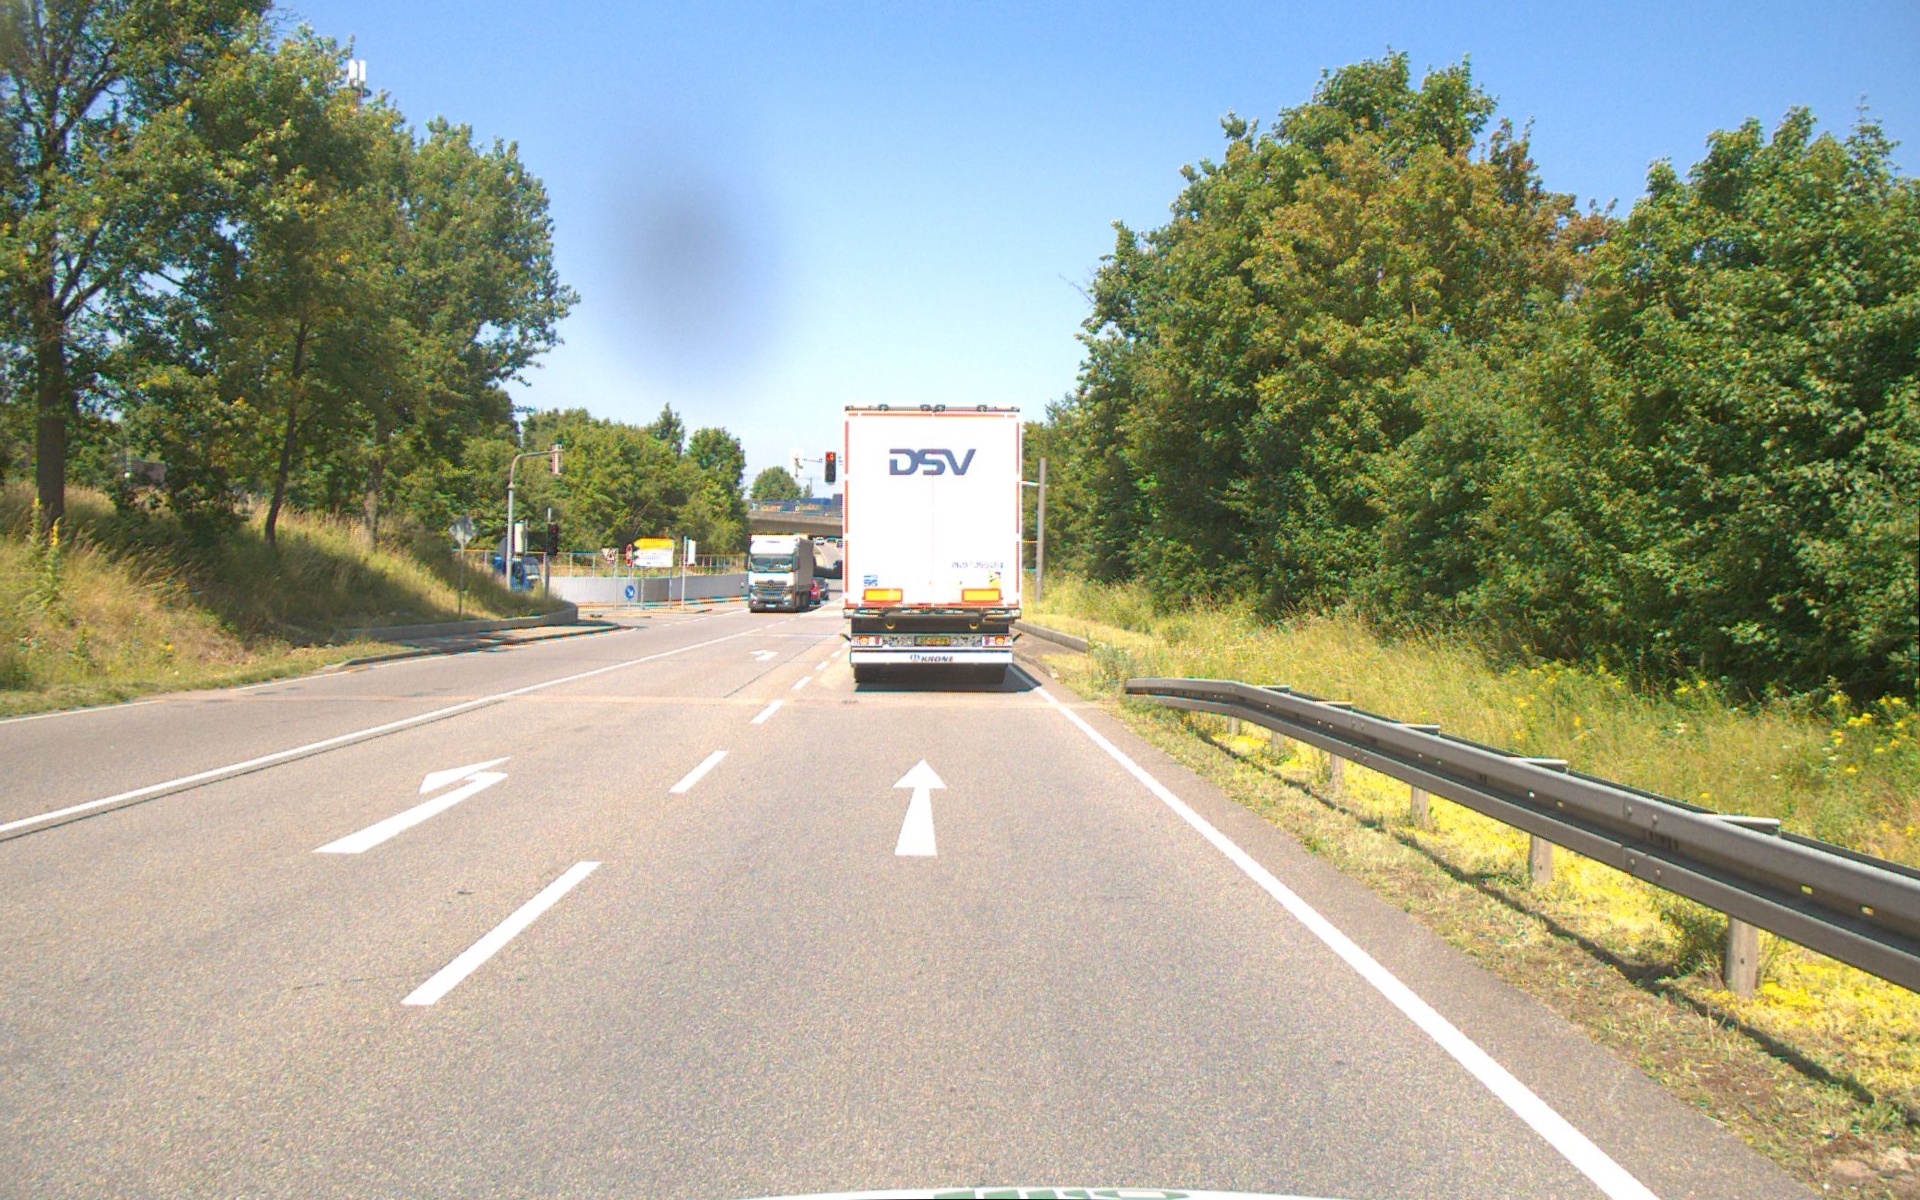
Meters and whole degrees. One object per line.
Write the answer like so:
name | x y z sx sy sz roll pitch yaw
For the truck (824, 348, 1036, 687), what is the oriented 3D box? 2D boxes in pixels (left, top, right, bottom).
truck | -0.616 -1.171 27.742 2.891 4.648 9.858 0 0 -2

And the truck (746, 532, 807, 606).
truck | -10.093 -1.733 92.269 2.305 3.815 12.622 0 1 -1

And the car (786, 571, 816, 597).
car | -10.542 -1.070 109.751 1.712 1.654 3.702 0 1 -2

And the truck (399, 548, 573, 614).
truck | -19.330 -0.792 67.585 6.274 2.543 2.717 1 0 10
